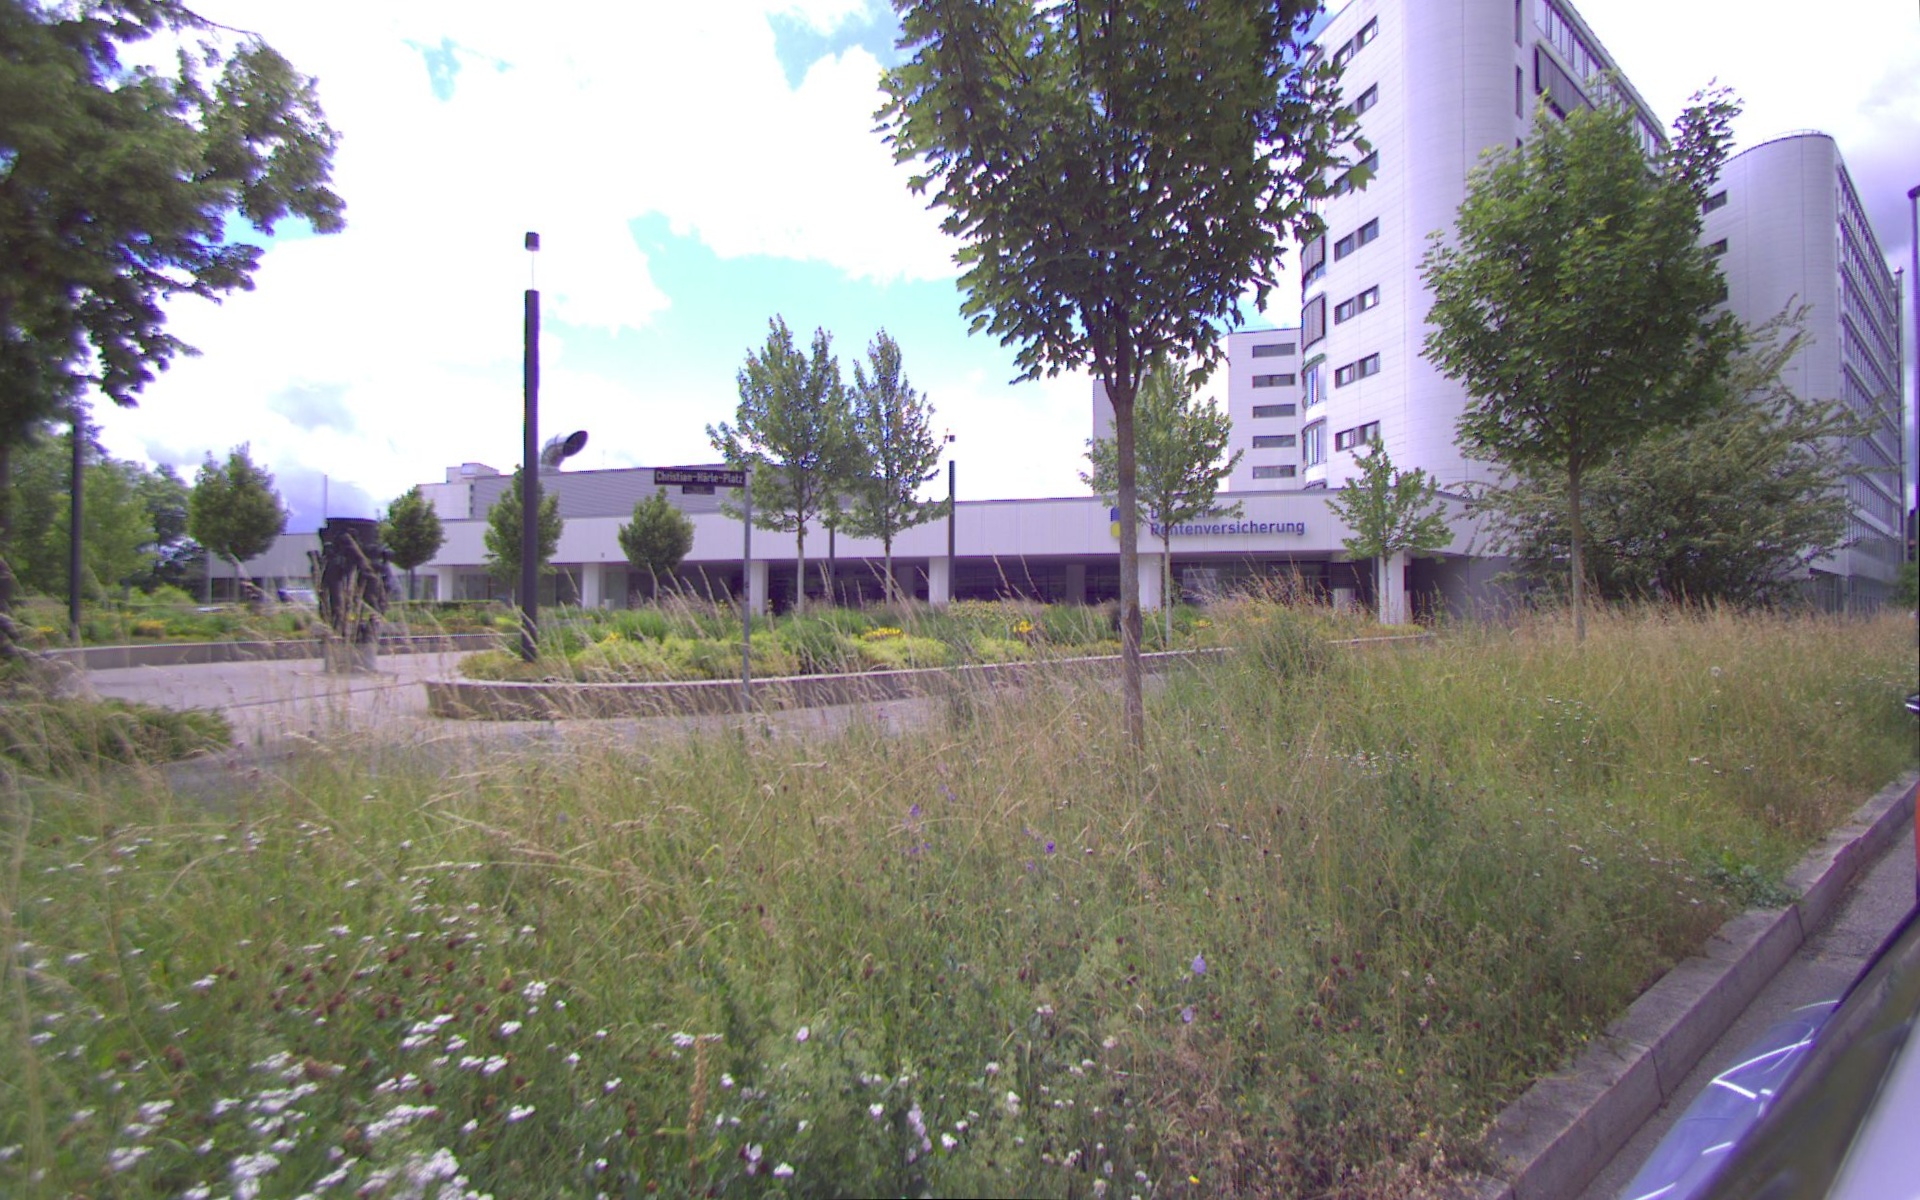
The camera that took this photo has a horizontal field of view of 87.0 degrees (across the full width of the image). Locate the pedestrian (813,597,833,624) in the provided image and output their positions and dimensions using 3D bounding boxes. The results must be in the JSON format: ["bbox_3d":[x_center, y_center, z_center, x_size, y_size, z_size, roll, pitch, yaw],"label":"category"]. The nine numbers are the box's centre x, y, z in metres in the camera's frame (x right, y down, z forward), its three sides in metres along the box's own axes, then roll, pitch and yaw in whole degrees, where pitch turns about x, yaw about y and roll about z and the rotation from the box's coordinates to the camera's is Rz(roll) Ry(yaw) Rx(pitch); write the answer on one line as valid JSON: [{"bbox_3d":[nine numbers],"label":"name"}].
[{"bbox_3d":[-6.499,0.492,48.097,0.869,1.290,0.705,1,0,-1],"label":"pedestrian"}]

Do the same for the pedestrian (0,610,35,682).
[{"bbox_3d":[-17.452,0.838,18.670,0.560,1.278,0.581,0,0,-43],"label":"pedestrian"}]

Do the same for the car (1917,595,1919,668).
[{"bbox_3d":[22.623,0.700,22.475,3.386,1.594,1.736,0,0,-42],"label":"car"}]

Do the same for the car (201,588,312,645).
[{"bbox_3d":[-23.366,0.519,33.613,3.470,1.788,1.622,0,0,27],"label":"car"}]
